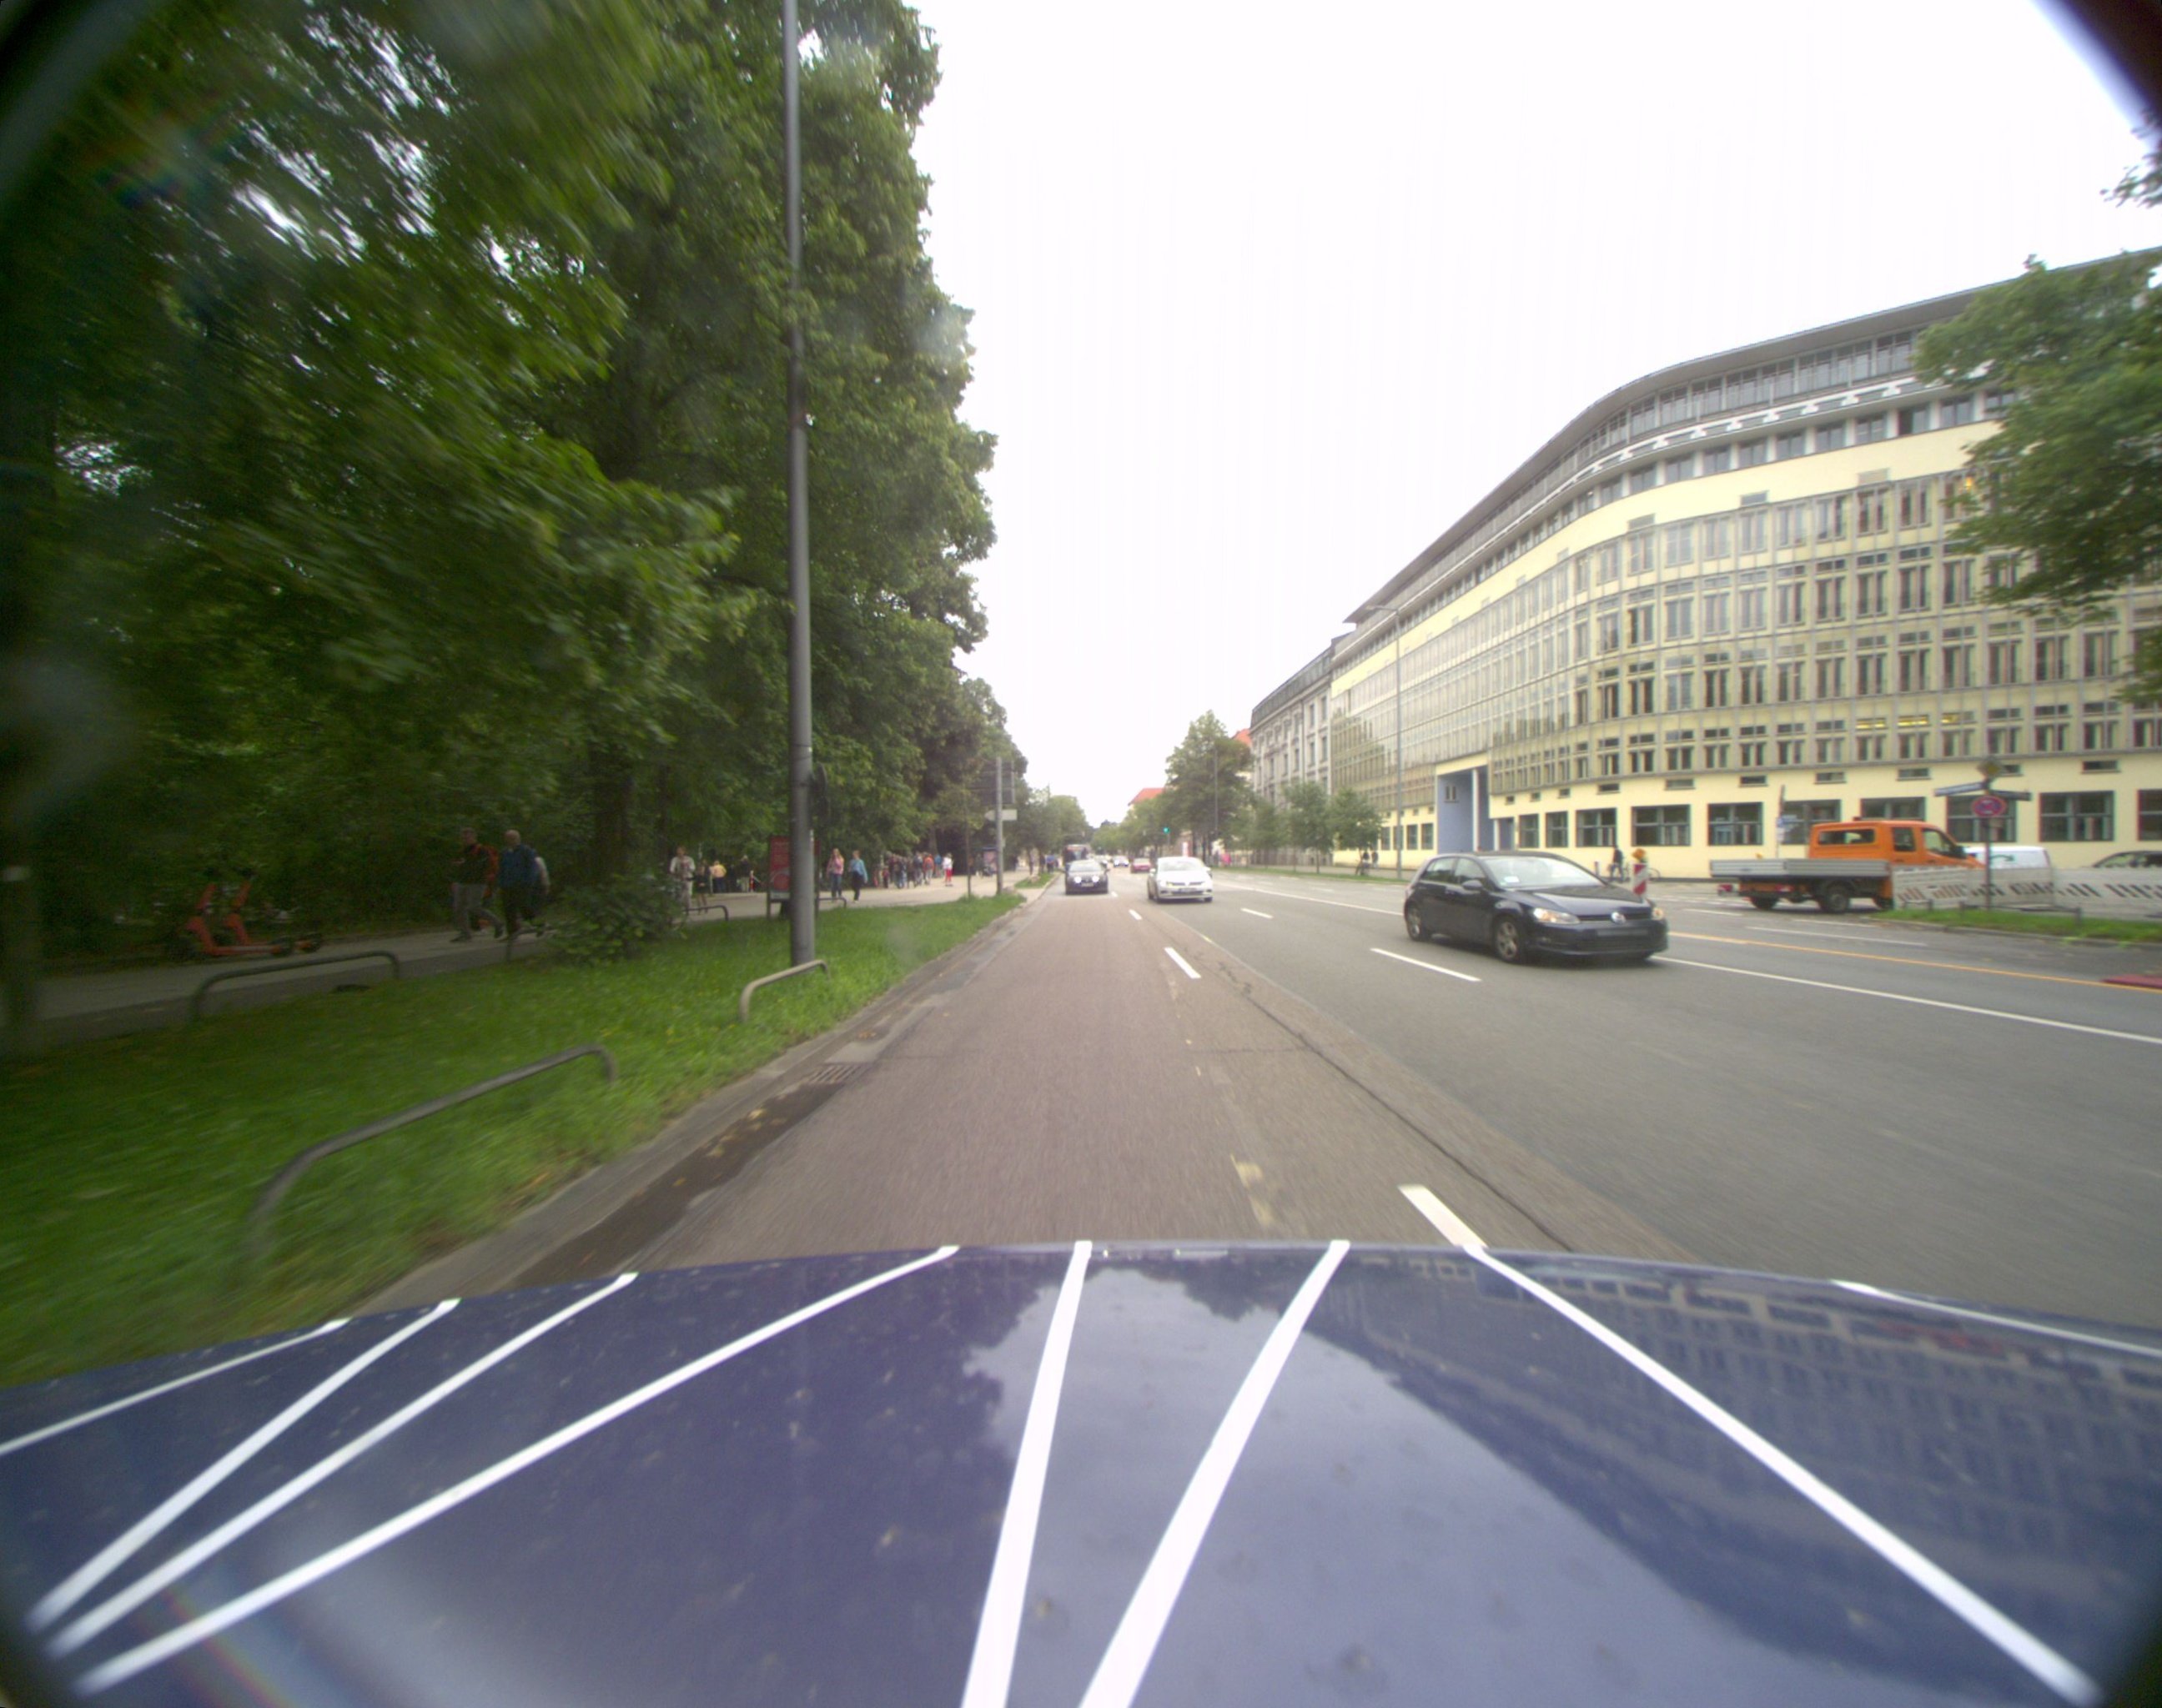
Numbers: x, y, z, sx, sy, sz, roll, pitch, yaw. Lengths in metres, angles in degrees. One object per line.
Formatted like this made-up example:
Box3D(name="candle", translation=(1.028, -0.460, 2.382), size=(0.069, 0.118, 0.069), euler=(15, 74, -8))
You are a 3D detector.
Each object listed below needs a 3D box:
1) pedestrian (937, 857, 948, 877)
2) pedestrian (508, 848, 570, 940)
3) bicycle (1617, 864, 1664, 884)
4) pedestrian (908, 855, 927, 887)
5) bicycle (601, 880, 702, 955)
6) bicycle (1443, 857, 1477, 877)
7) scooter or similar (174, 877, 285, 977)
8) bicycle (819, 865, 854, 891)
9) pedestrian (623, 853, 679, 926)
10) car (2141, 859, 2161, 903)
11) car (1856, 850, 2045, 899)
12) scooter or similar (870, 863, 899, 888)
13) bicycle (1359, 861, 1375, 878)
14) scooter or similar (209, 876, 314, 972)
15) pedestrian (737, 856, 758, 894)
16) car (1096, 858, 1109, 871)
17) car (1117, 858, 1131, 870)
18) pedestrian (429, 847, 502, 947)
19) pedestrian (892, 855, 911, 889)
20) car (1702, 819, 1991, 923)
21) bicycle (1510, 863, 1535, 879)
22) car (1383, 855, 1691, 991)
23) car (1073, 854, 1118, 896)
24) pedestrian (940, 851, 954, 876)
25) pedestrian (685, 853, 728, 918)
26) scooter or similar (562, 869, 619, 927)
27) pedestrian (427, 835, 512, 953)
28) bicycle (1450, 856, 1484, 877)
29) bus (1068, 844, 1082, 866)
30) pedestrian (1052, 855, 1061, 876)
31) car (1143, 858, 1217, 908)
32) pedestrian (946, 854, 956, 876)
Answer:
Box3D(name="pedestrian", translation=(-10.757, 0.989, 58.957), size=(0.637, 1.498, 0.533), euler=(-2, 1, 2))
Box3D(name="pedestrian", translation=(-9.816, 0.705, 13.782), size=(0.682, 1.628, 0.601), euler=(0, 1, 1))
Box3D(name="bicycle", translation=(26.288, 0.935, 35.736), size=(1.732, 0.872, 0.587), euler=(-1, 0, 41))
Box3D(name="pedestrian", translation=(-8.157, 0.855, 37.849), size=(0.694, 1.568, 0.610), euler=(-2, 1, -35))
Box3D(name="bicycle", translation=(-6.819, 0.964, 12.176), size=(0.385, 1.015, 2.079), euler=(-2, 0, 0))
Box3D(name="bicycle", translation=(26.044, 0.873, 52.179), size=(2.014, 1.311, 0.638), euler=(-2, 1, -6))
Box3D(name="scooter or similar", translation=(-11.087, 0.925, 9.909), size=(0.305, 1.217, 0.928), euler=(-1, 1, 39))
Box3D(name="bicycle", translation=(-12.333, 1.220, 38.293), size=(1.602, 1.232, 0.391), euler=(-2, 1, -28))
Box3D(name="pedestrian", translation=(-9.561, 0.769, 16.921), size=(0.682, 1.557, 0.872), euler=(-2, 1, 1))
Box3D(name="car", translation=(38.266, 0.897, 24.847), size=(3.954, 1.488, 1.492), euler=(-1, 0, 27))
Box3D(name="car", translation=(32.528, 0.739, 28.634), size=(4.318, 1.739, 1.874), euler=(-1, 0, 28))
Box3D(name="scooter or similar", translation=(-9.977, 1.099, 38.554), size=(1.563, 1.249, 0.349), euler=(-2, 1, 30))
Box3D(name="bicycle", translation=(16.862, 0.898, 44.850), size=(0.282, 1.007, 1.384), euler=(-2, 0, -4))
Box3D(name="scooter or similar", translation=(-11.162, 0.926, 10.364), size=(0.305, 1.217, 0.928), euler=(-1, 1, 39))
Box3D(name="pedestrian", translation=(-14.989, 0.936, 34.122), size=(0.694, 1.686, 0.610), euler=(-2, 1, -35))
Box3D(name="car", translation=(2.769, 1.323, 98.855), size=(1.638, 1.562, 3.945), euler=(-1, 0, 0))
Box3D(name="car", translation=(5.679, 1.302, 100.426), size=(1.638, 1.562, 3.945), euler=(-1, 0, 0))
Box3D(name="pedestrian", translation=(-10.445, 0.718, 12.918), size=(0.683, 1.628, 0.663), euler=(-2, 1, -12))
Box3D(name="pedestrian", translation=(-8.914, 0.866, 37.655), size=(0.694, 1.642, 0.610), euler=(-2, 1, -33))
Box3D(name="car", translation=(19.890, 0.407, 19.904), size=(5.697, 2.521, 2.156), euler=(-1, 0, -4))
Box3D(name="bicycle", translation=(25.110, 0.938, 43.255), size=(0.478, 0.872, 1.737), euler=(0, 0, 3))
Box3D(name="car", translation=(6.035, 0.784, 10.783), size=(1.696, 1.507, 4.338), euler=(-1, 0, -1))
Box3D(name="car", translation=(0.560, 0.855, 32.430), size=(1.797, 1.627, 4.274), euler=(-1, 0, -1))
Box3D(name="pedestrian", translation=(-10.003, 0.682, 56.792), size=(0.814, 1.818, 0.729), euler=(-2, 1, 2))
Box3D(name="pedestrian", translation=(-9.030, 0.751, 18.331), size=(0.682, 1.506, 0.562), euler=(-2, 1, 1))
Box3D(name="scooter or similar", translation=(-10.885, 0.954, 16.886), size=(0.419, 1.192, 1.219), euler=(-2, 0, 0))
Box3D(name="pedestrian", translation=(-9.758, 0.618, 12.156), size=(0.589, 1.812, 0.850), euler=(-2, 1, 1))
Box3D(name="bicycle", translation=(26.155, 0.833, 51.499), size=(2.014, 1.311, 0.574), euler=(-2, 1, -6))
Box3D(name="bus", translation=(-0.680, 0.128, 91.218), size=(1.638, 2.570, 6.701), euler=(-1, 0, 0))
Box3D(name="pedestrian", translation=(-2.192, 1.026, 66.883), size=(0.710, 1.798, 0.639), euler=(-2, 1, 0))
Box3D(name="car", translation=(3.163, 0.894, 25.044), size=(1.797, 1.439, 4.274), euler=(-1, 0, -1))
Box3D(name="pedestrian", translation=(-10.717, 0.898, 62.450), size=(0.637, 1.757, 0.533), euler=(-2, 1, 2))
